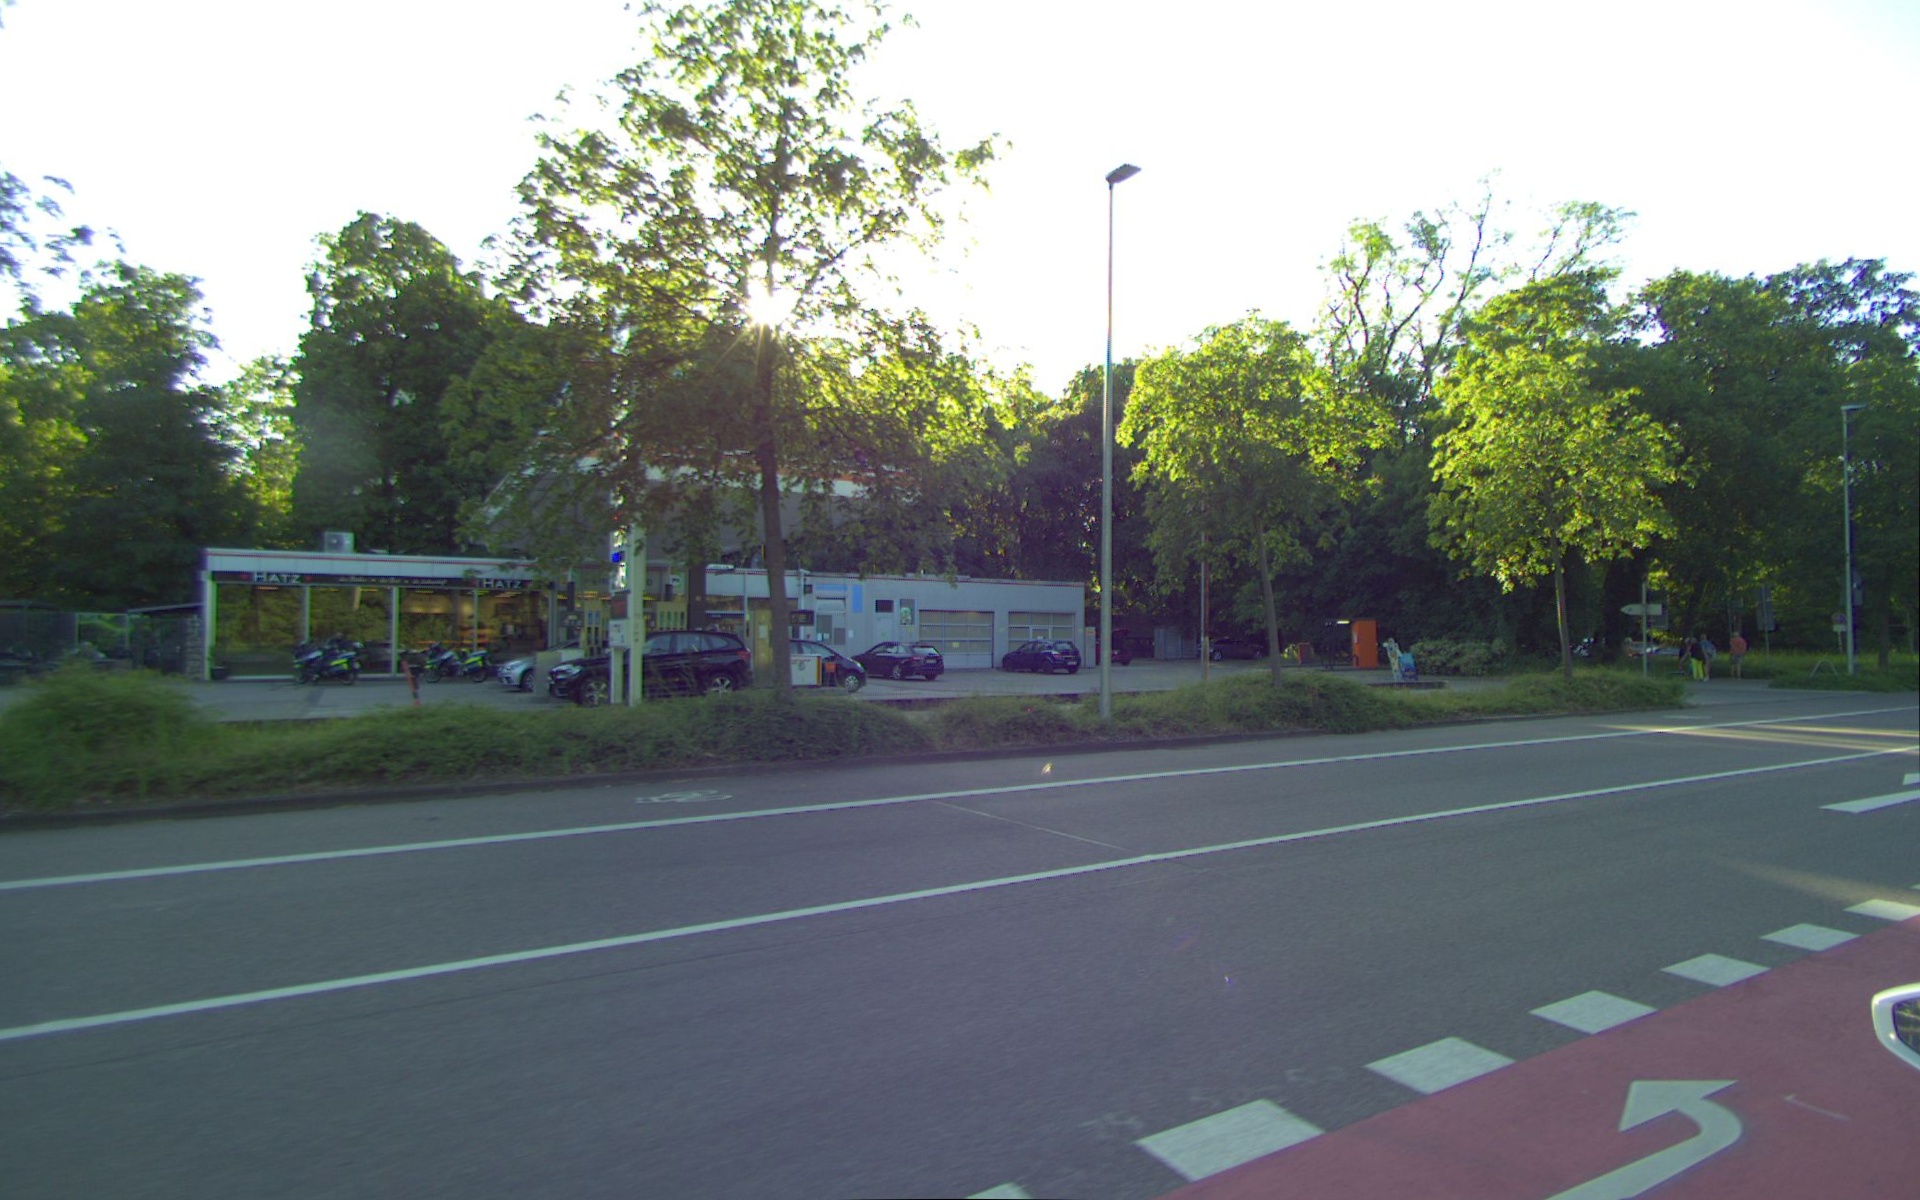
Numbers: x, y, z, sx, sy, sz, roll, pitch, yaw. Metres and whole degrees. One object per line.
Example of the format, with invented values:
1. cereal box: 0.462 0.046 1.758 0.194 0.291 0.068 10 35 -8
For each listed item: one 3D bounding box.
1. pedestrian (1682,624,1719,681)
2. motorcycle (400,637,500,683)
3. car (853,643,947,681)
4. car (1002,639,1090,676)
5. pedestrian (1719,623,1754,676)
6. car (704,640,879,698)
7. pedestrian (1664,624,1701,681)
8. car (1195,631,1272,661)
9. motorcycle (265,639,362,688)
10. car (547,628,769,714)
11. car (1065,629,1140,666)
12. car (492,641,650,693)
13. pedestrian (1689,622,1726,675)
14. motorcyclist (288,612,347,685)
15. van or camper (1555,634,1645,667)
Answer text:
1. pedestrian: 26.794 1.902 36.344 0.783 2.040 0.718 1 -2 -11
2. motorcycle: -16.816 1.969 33.169 2.693 1.470 1.134 0 -2 -4
3. car: -2.333 2.365 38.688 1.705 1.371 3.586 2 -3 -44
4. car: 3.814 2.522 44.996 1.880 1.576 3.962 1 -3 -34
5. pedestrian: 30.051 1.911 38.881 0.732 2.040 0.719 0 -2 1
6. car: -4.669 1.873 28.071 4.526 1.517 1.702 1 -3 -31
7. pedestrian: 26.011 1.875 36.166 0.783 2.040 0.717 0 -2 -13
8. car: 16.948 2.871 62.359 4.187 1.844 2.000 0 -2 -1
9. motorcycle: -20.068 1.956 31.215 2.455 1.470 1.135 -1 -2 14
10. car: -6.597 1.511 22.141 4.408 1.713 1.700 2 -3 -35
11. car: 7.893 2.625 56.051 1.981 2.006 3.961 1 -3 -35
12. car: -11.174 1.883 28.948 4.014 1.394 1.702 1 -3 -32
13. pedestrian: 28.958 1.865 38.900 0.857 2.040 0.719 0 -2 1
14. motorcyclist: -19.952 1.505 31.205 0.996 2.211 1.125 0 -2 14
15. van or camper: 47.117 3.705 73.994 5.313 2.040 2.000 3 -2 -1
